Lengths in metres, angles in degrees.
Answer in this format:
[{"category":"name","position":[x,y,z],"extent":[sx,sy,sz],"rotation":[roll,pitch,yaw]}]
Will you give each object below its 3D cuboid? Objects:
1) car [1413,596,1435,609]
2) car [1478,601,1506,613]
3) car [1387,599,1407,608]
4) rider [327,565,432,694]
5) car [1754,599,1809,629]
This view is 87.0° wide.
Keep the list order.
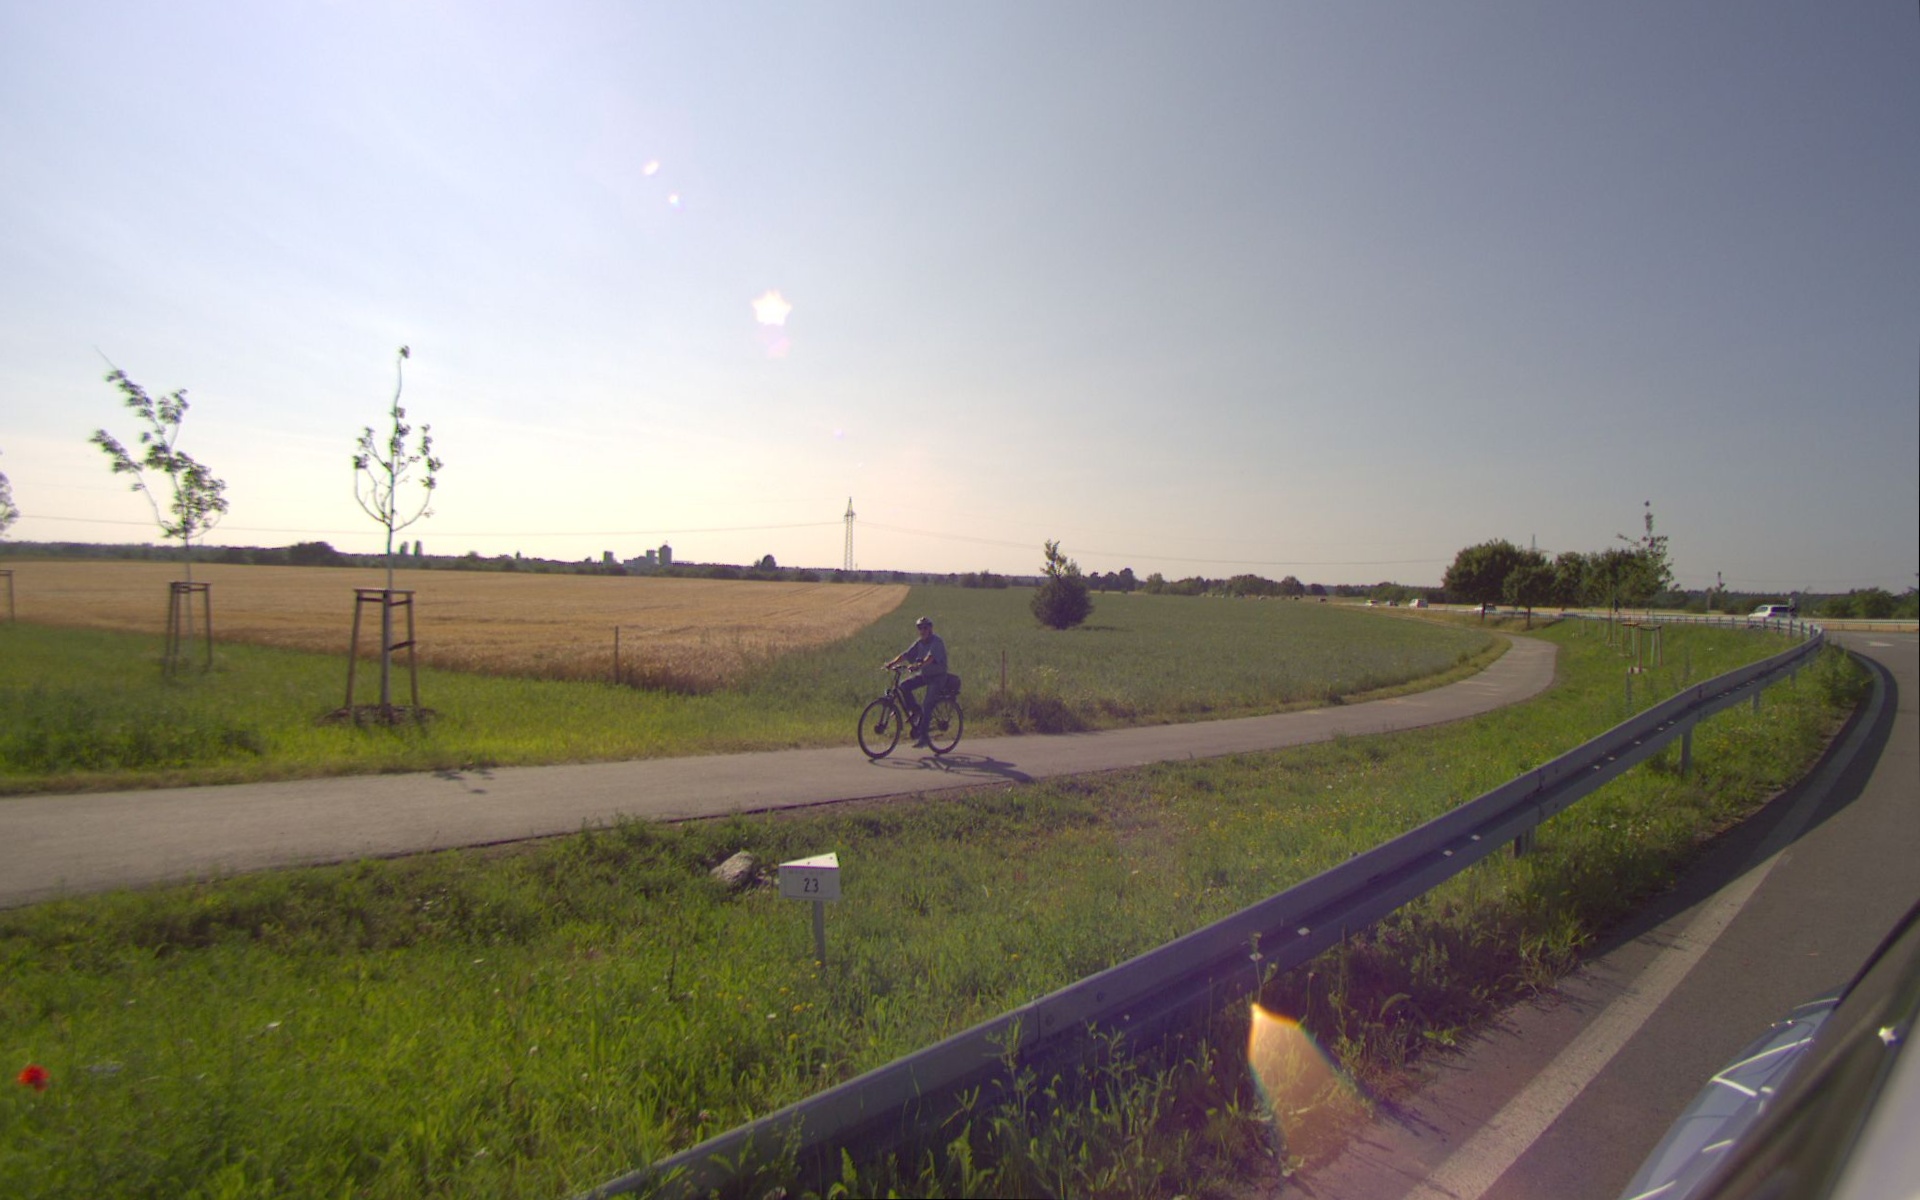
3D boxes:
[{"category":"car","position":[78.554,0.387,171.476],"extent":[2.087,2.040,5.138],"rotation":[1,-2,9]},{"category":"car","position":[74.470,1.030,141.716],"extent":[2.090,1.512,5.130],"rotation":[0,-2,13]},{"category":"car","position":[80.560,0.576,186.709],"extent":[1.768,1.467,4.699],"rotation":[1,-2,3]},{"category":"rider","position":[-7.939,0.385,13.884],"extent":[0.806,1.663,0.991],"rotation":[2,0,1]},{"category":"car","position":[56.416,0.908,69.560],"extent":[1.679,1.693,4.827],"rotation":[0,3,24]}]
